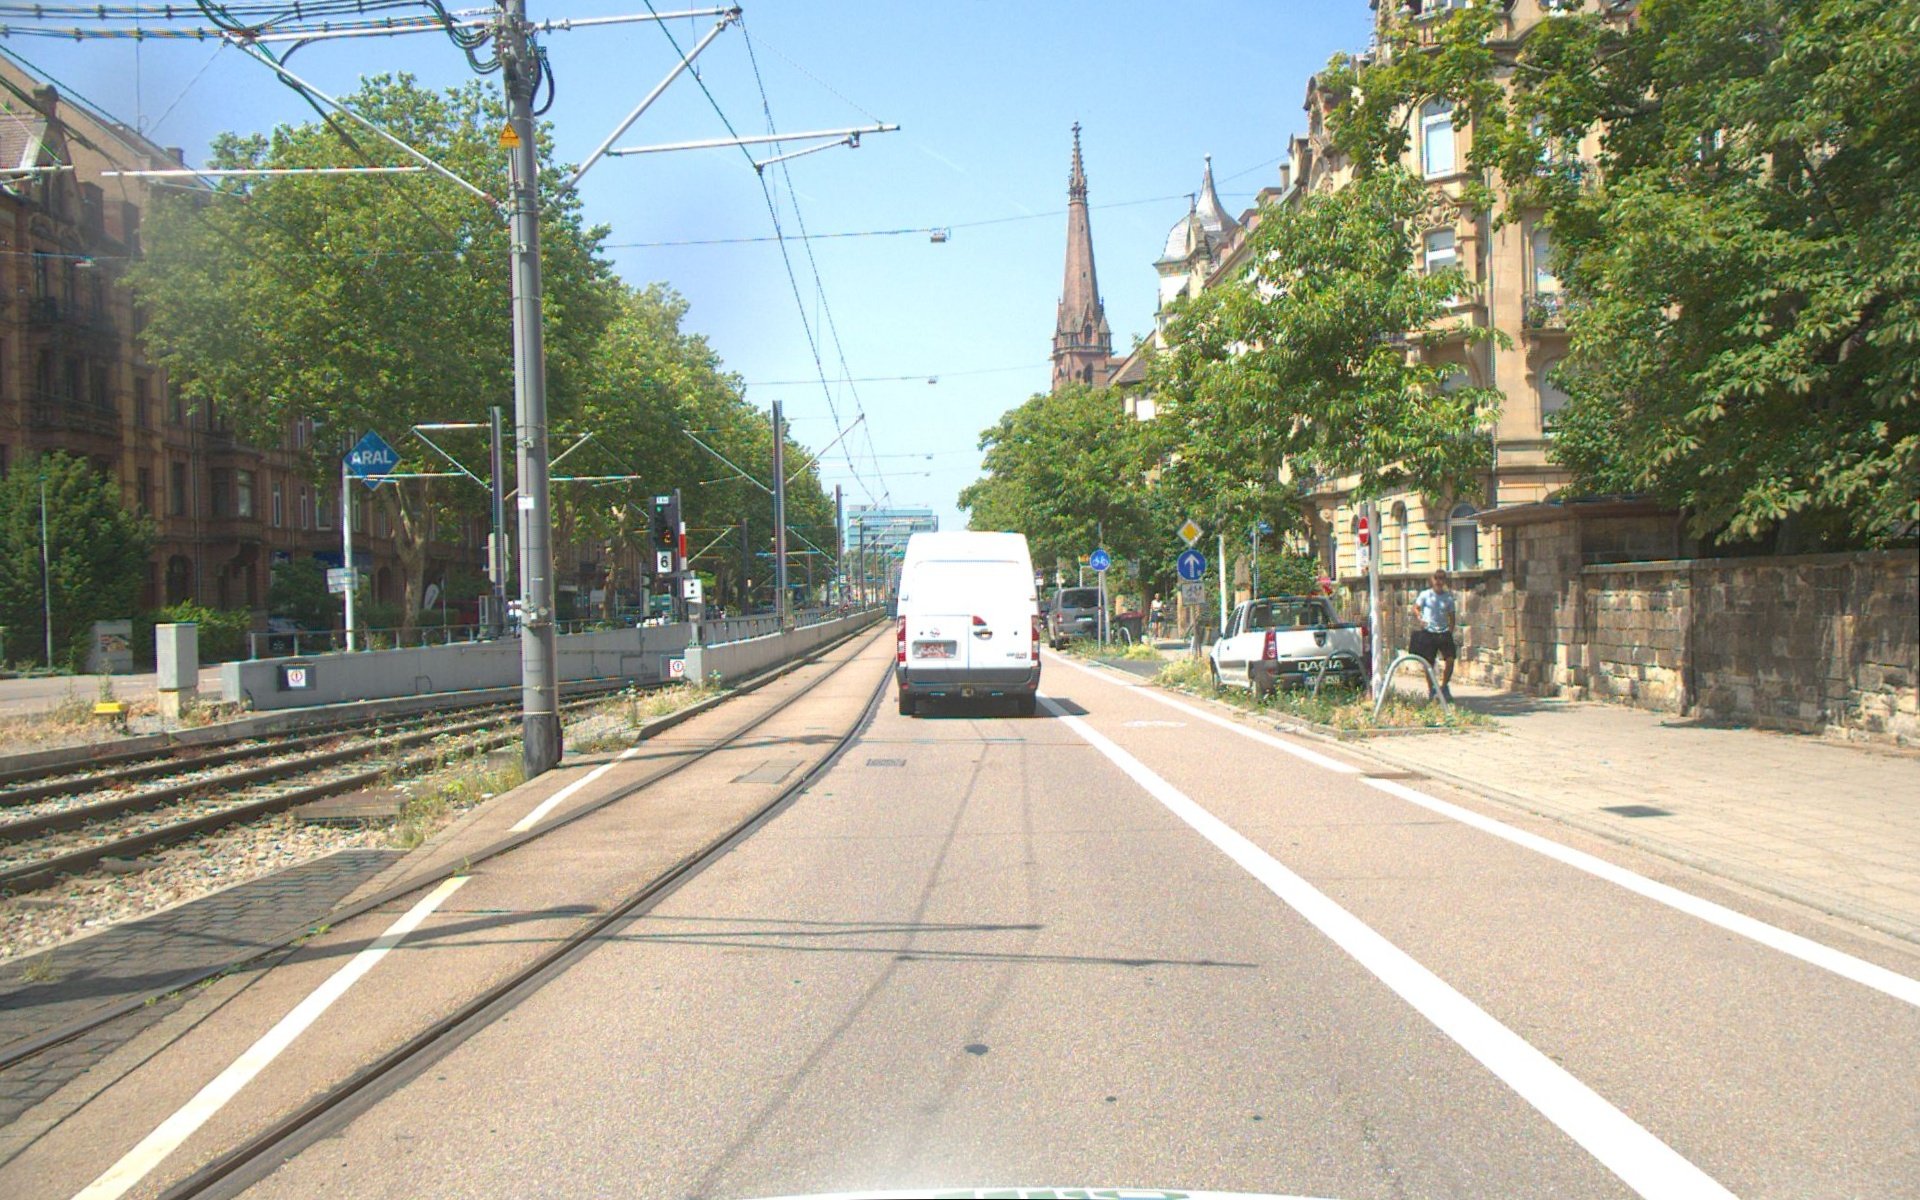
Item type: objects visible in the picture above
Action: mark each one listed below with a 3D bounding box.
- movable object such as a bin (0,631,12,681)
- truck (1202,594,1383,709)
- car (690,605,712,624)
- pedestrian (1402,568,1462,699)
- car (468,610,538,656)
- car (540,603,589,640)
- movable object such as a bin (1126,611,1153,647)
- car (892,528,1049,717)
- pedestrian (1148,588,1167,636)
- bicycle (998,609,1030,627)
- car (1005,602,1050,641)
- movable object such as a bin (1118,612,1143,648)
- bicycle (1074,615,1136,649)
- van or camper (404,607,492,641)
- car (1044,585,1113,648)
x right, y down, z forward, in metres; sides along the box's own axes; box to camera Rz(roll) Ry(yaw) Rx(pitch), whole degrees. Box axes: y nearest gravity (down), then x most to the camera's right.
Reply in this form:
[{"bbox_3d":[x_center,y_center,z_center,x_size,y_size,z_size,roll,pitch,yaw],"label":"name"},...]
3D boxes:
[{"bbox_3d":[-28.258,1.630,47.010,1.747,1.409,1.469,-2,0,-4],"label":"movable object such as a bin"},{"bbox_3d":[4.924,0.704,25.110,1.753,1.553,4.464,-1,0,-1],"label":"truck"},{"bbox_3d":[-21.625,1.204,138.378,1.345,1.448,3.087,-2,0,-1],"label":"car"},{"bbox_3d":[6.568,0.456,23.040,0.608,1.785,0.678,-1,0,0],"label":"pedestrian"},{"bbox_3d":[-20.441,1.441,74.231,1.953,1.937,4.716,-1,0,-2],"label":"car"},{"bbox_3d":[-19.531,1.038,81.832,1.620,1.714,3.705,-1,0,-2],"label":"car"},{"bbox_3d":[5.340,0.852,49.144,0.771,1.031,0.650,-1,0,5],"label":"movable object such as a bin"},{"bbox_3d":[0.041,0.289,24.851,2.075,2.502,5.052,-1,0,-2],"label":"car"},{"bbox_3d":[6.745,0.405,56.602,0.540,1.626,0.728,-1,0,1],"label":"pedestrian"},{"bbox_3d":[3.097,1.034,95.518,1.804,0.970,0.503,-2,0,0],"label":"bicycle"},{"bbox_3d":[2.834,0.893,70.403,1.633,1.557,4.012,-2,0,-1],"label":"car"},{"bbox_3d":[5.188,0.906,50.477,0.730,1.080,0.496,-1,0,5],"label":"movable object such as a bin"},{"bbox_3d":[4.547,1.003,51.902,1.847,1.009,0.469,-2,0,-11],"label":"bicycle"},{"bbox_3d":[-29.684,1.384,95.925,4.448,1.869,1.933,-1,0,4],"label":"van or camper"},{"bbox_3d":[3.942,0.531,55.930,1.841,1.981,4.835,-2,0,-1],"label":"car"}]
